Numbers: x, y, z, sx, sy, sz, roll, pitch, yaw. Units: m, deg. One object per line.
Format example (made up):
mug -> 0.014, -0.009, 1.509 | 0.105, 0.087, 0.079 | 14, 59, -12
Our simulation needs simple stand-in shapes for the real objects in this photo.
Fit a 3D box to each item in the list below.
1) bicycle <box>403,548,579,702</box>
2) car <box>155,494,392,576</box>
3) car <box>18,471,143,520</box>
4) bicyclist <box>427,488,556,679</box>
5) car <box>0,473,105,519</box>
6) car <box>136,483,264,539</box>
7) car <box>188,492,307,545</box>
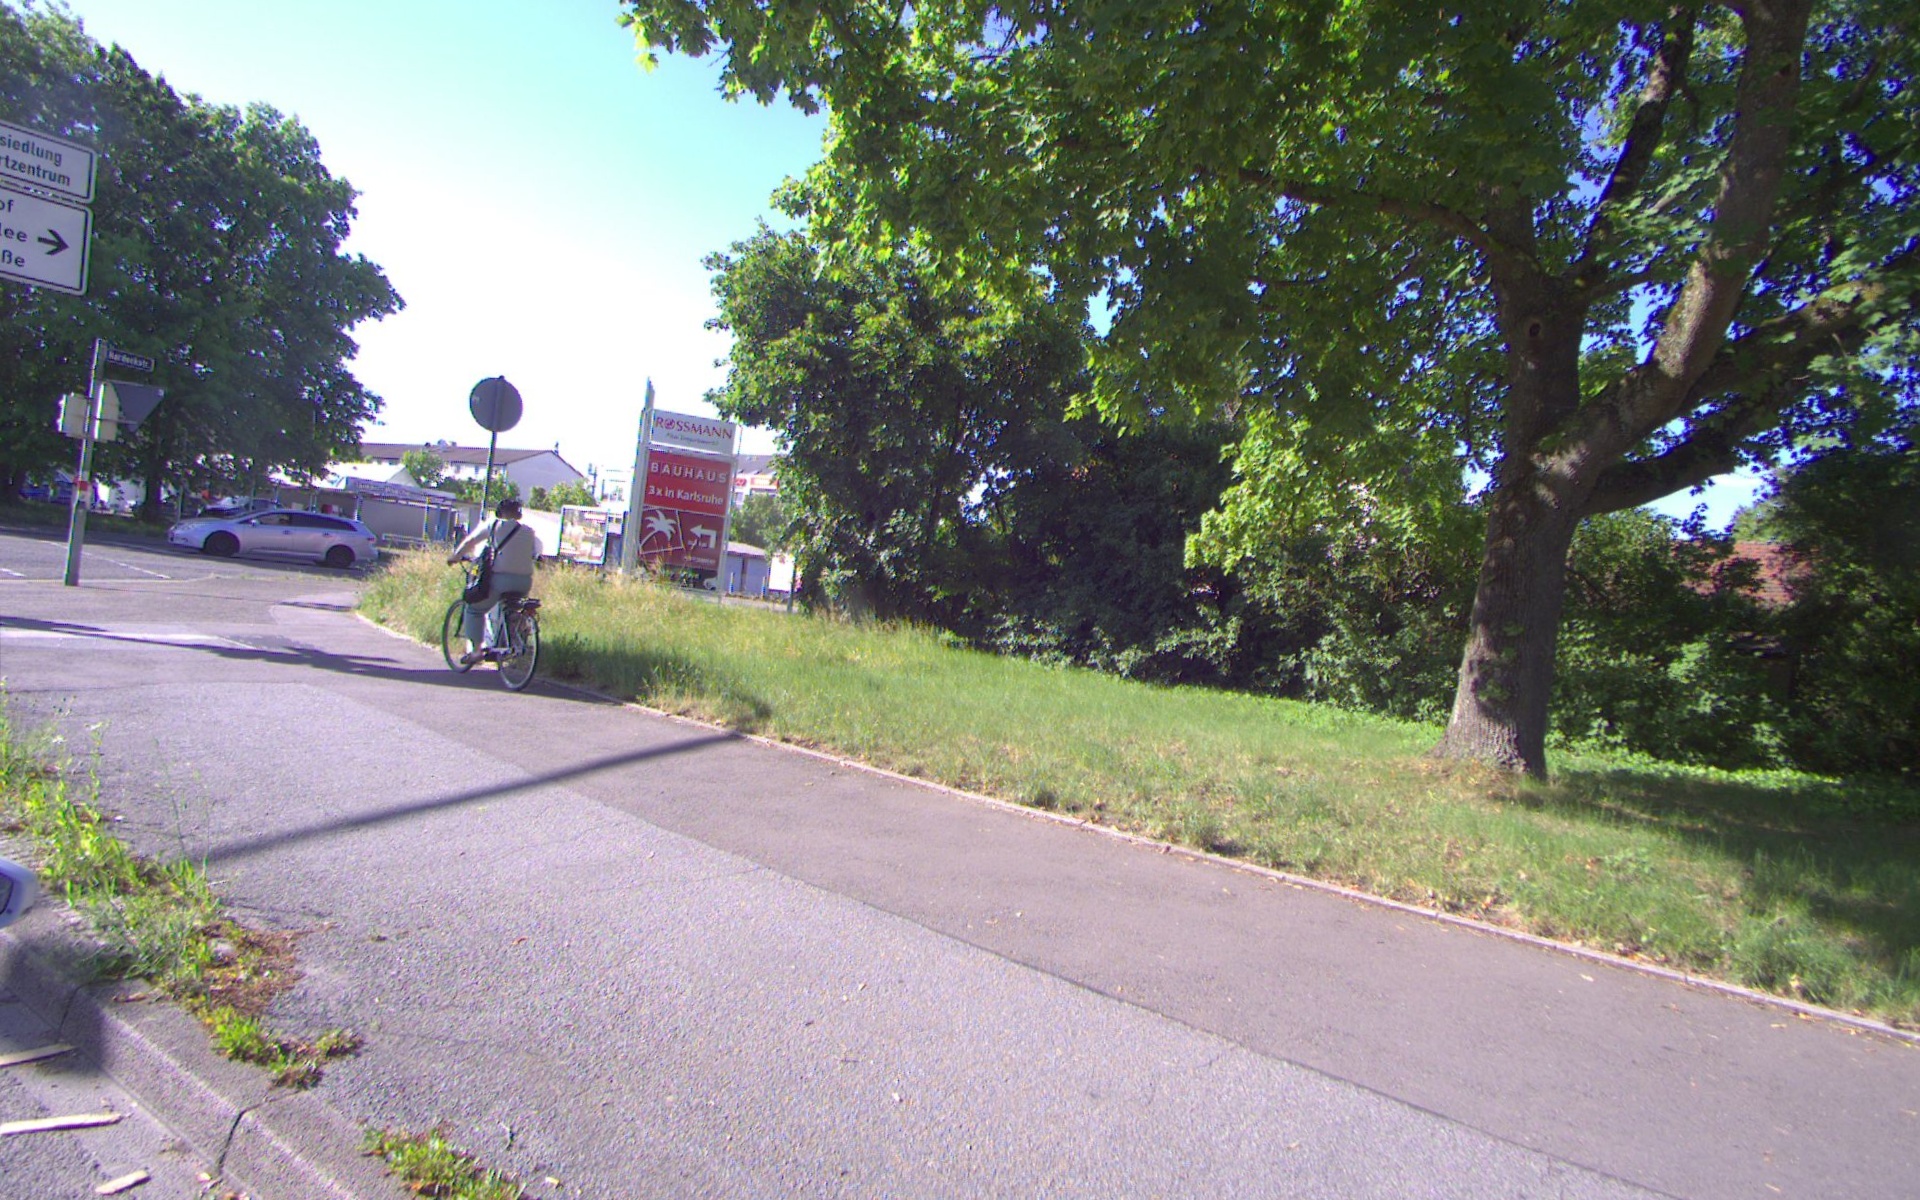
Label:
bicycle -> -4.322, 0.195, 9.187 | 1.958, 1.112, 0.578 | 9, 4, 38
car -> -18.645, -1.731, 27.526 | 1.973, 1.504, 4.994 | 7, 0, 43
car -> -39.178, -4.625, 44.930 | 1.712, 1.537, 3.902 | 7, 0, 9
bicyclist -> -4.279, -0.155, 9.167 | 0.982, 1.603, 0.578 | 9, 4, 38
car -> -41.988, -4.766, 46.154 | 1.712, 1.537, 3.902 | 7, 0, 9
car -> -32.344, -3.748, 42.961 | 1.962, 1.772, 4.001 | 7, 0, 9
car -> -30.294, -3.425, 42.915 | 1.712, 1.701, 4.001 | 7, 0, 9
